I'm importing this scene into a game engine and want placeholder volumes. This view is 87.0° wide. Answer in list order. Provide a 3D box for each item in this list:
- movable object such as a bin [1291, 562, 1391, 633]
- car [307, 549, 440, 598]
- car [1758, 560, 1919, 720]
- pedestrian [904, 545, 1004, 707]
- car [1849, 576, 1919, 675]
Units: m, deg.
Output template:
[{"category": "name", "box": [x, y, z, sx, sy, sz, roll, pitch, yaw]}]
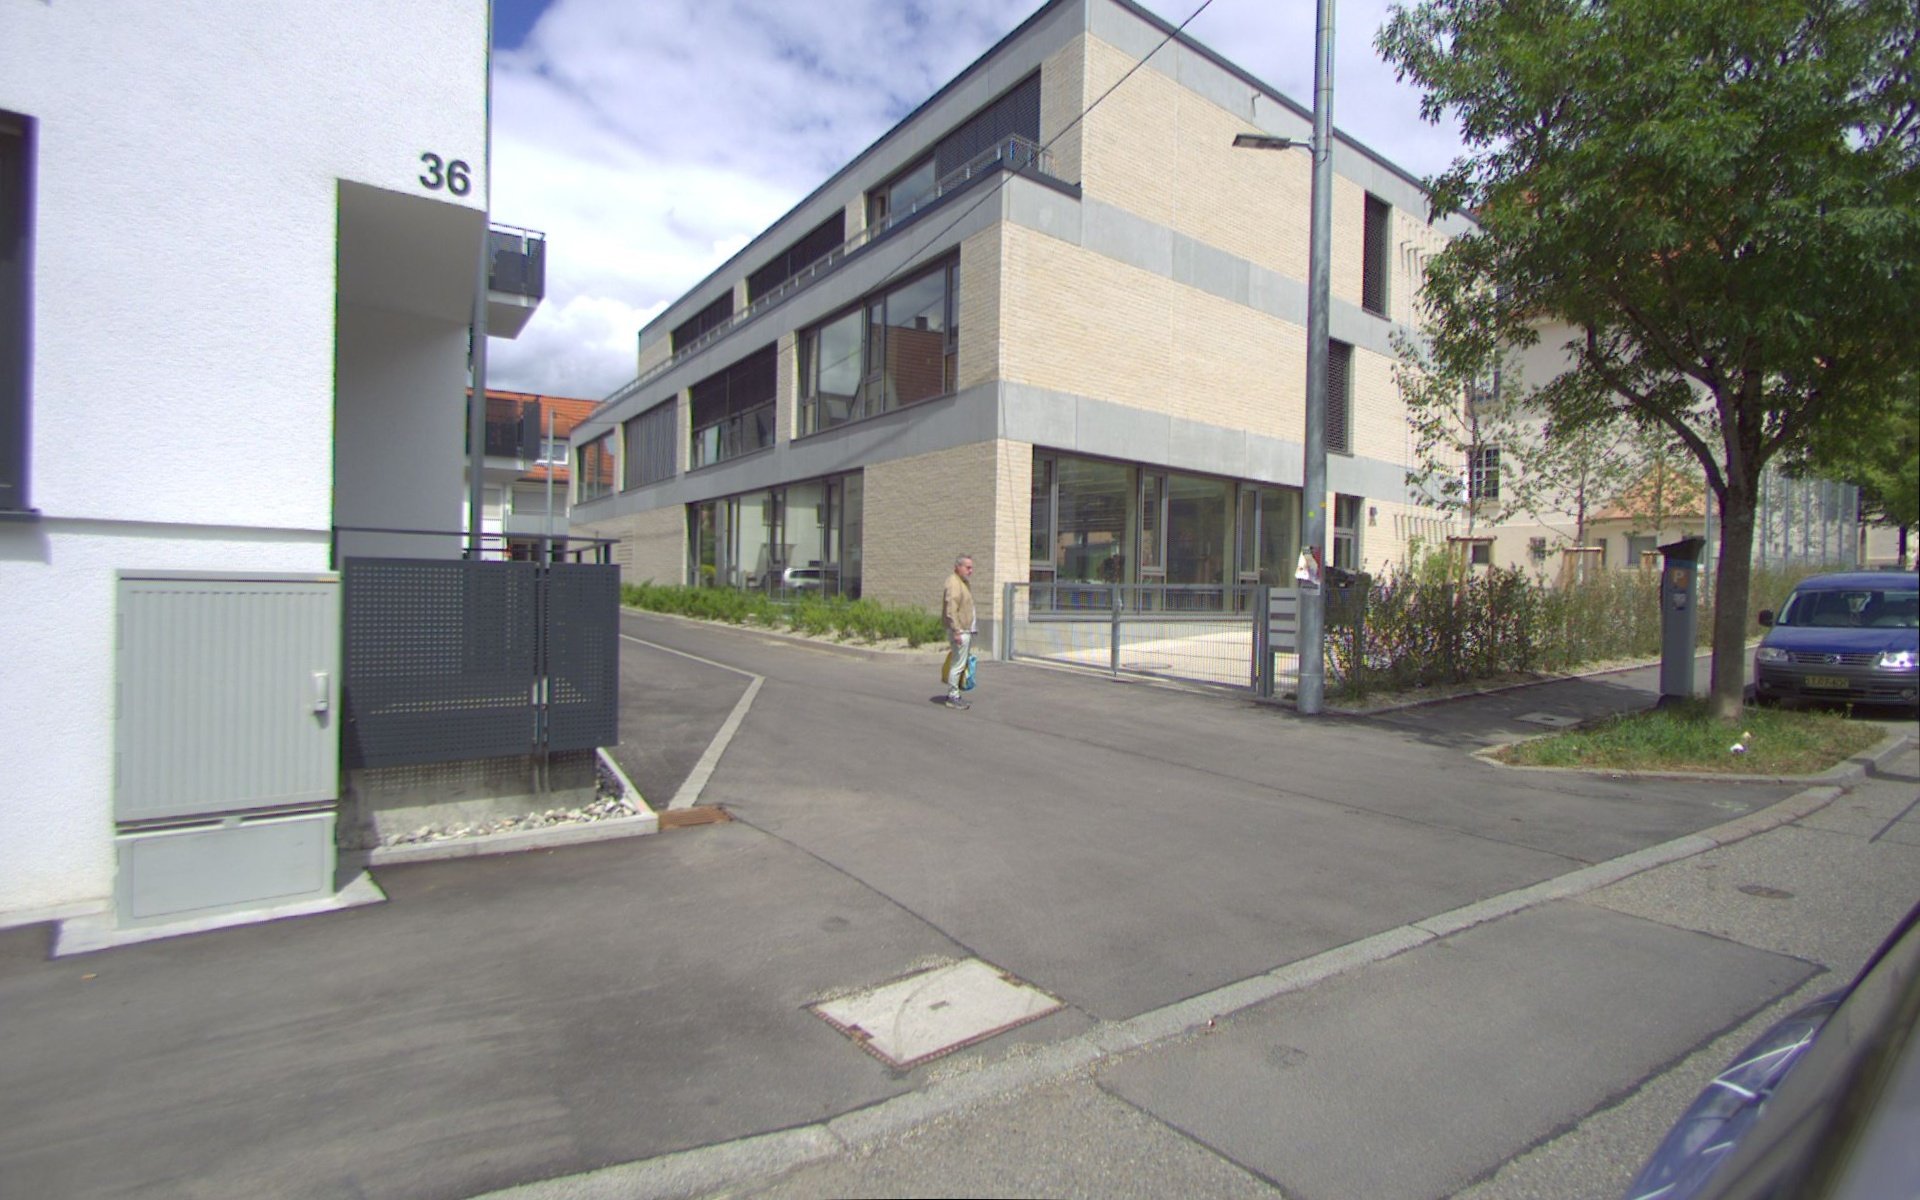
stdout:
[{"category": "movable object such as a bin", "box": [8.358, -0.069, 22.209, 1.774, 1.465, 1.351, 0, 1, -39]}, {"category": "car", "box": [-20.187, -0.896, 34.915, 3.857, 1.524, 1.700, 1, 1, -31]}, {"category": "car", "box": [12.088, 0.384, 13.337, 4.087, 1.764, 1.698, -3, 3, -40]}, {"category": "pedestrian", "box": [-0.068, 0.270, 11.307, 0.815, 1.725, 0.774, 0, 0, -42]}, {"category": "car", "box": [16.392, 0.373, 16.998, 3.606, 1.538, 1.677, -1, 2, -40]}]
